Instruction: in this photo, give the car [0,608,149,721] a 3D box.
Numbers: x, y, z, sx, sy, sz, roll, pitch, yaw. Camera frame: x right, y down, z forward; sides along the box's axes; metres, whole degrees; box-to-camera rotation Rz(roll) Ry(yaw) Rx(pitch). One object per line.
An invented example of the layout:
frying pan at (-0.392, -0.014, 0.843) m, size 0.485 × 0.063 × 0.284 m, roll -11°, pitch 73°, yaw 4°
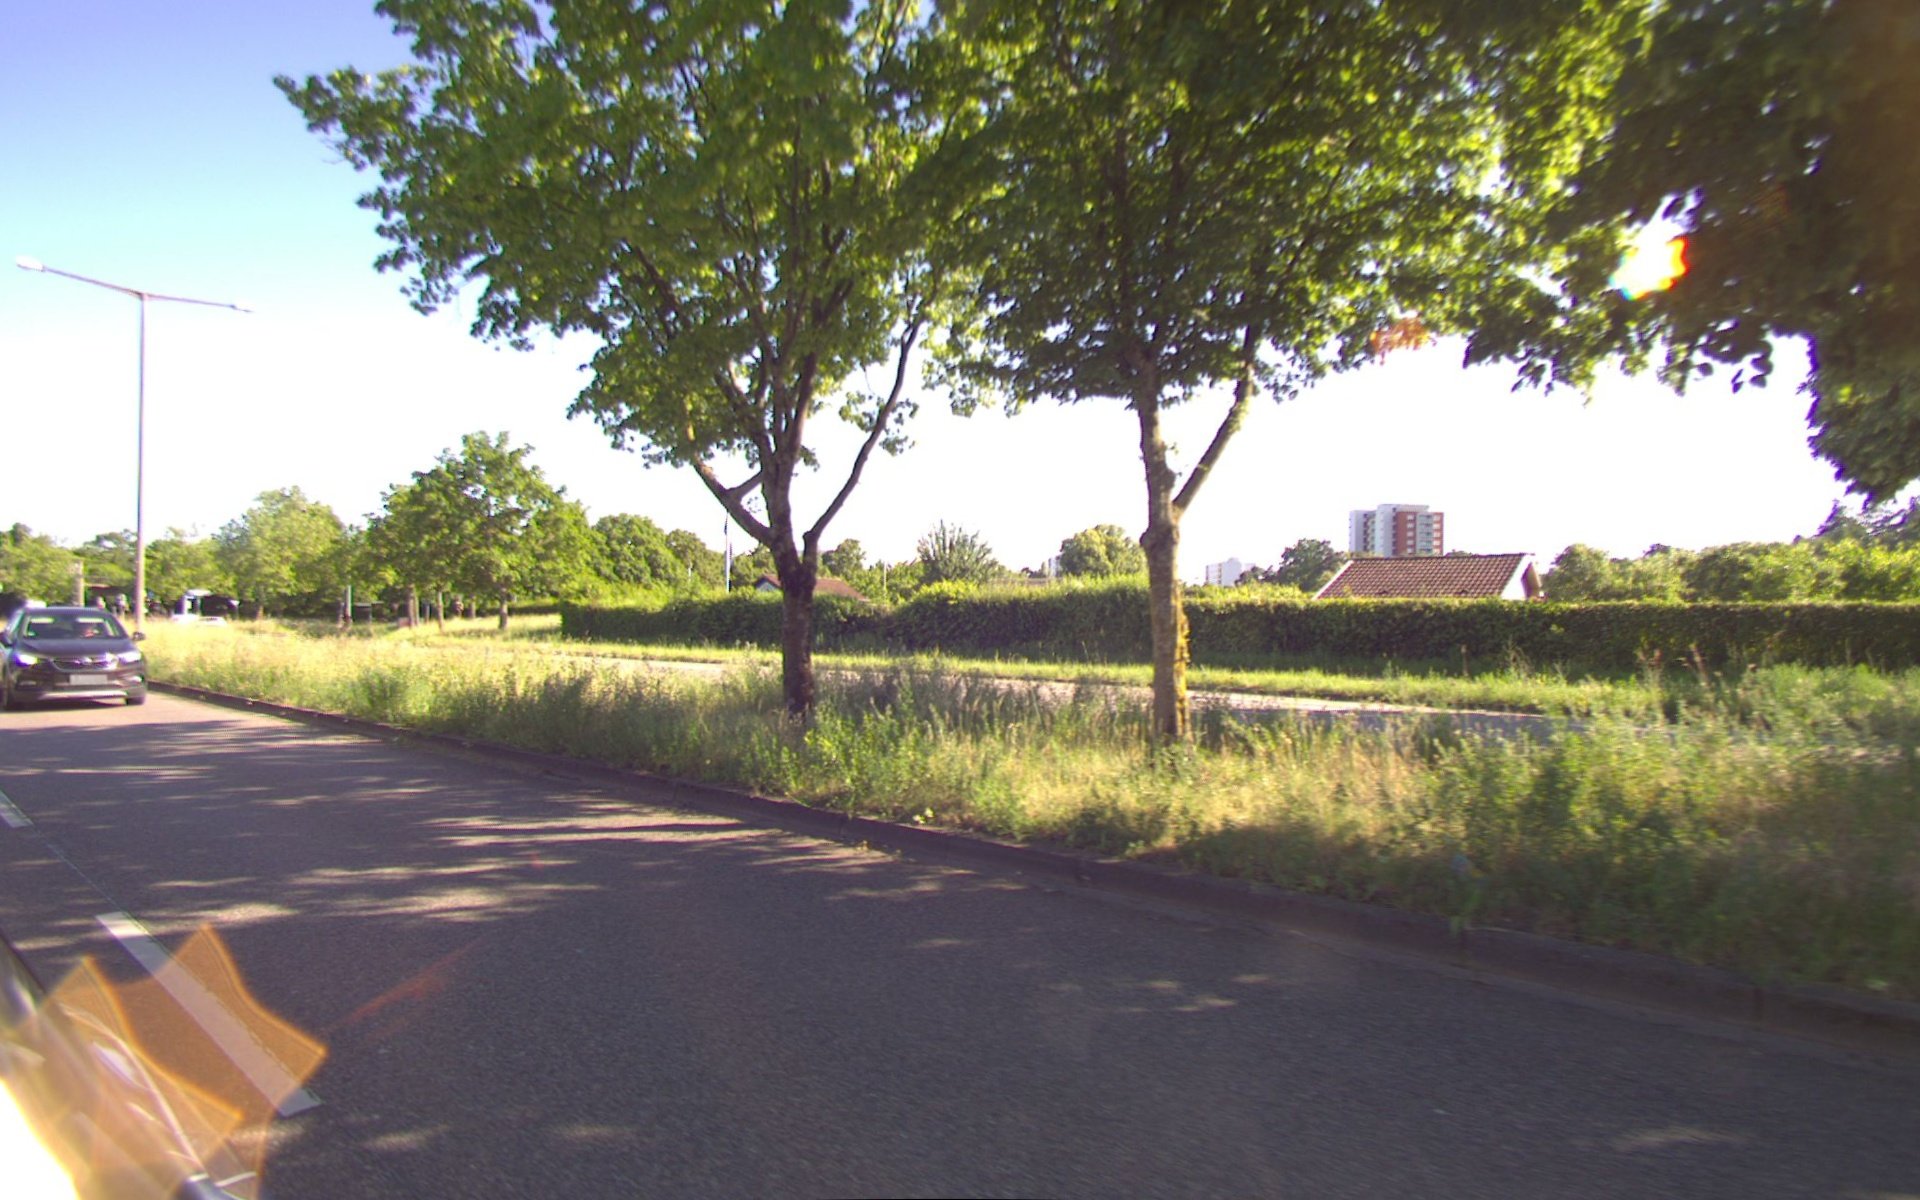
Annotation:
car at (-15.119, 1.017, 16.967) m, size 3.854 × 1.675 × 1.692 m, roll -1°, pitch -2°, yaw 41°
